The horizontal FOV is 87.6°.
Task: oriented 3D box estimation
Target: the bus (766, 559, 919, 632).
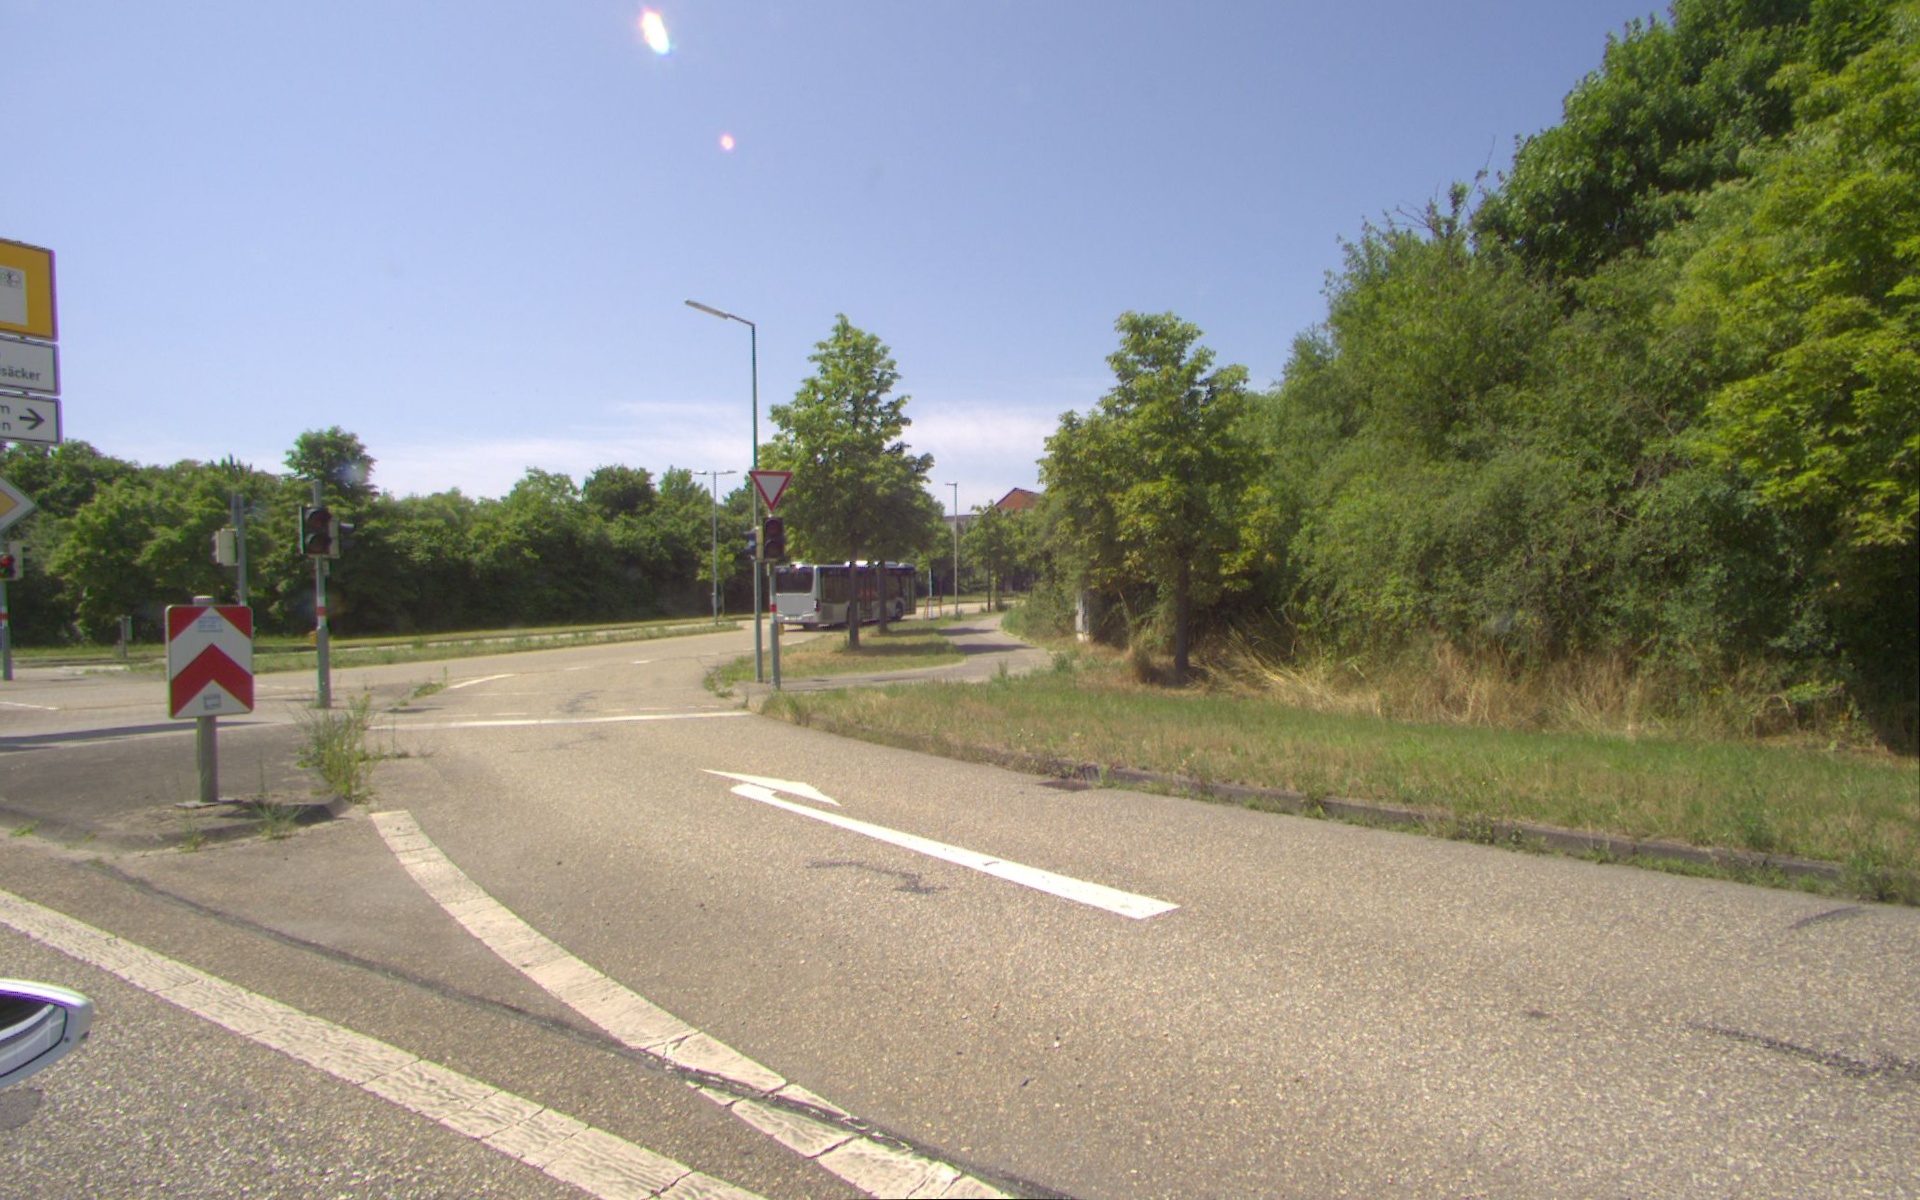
[{"bbox_3d":[-5.375,-0.178,49.432,2.584,3.127,12.057,0,0,19],"label":"bus"}]
